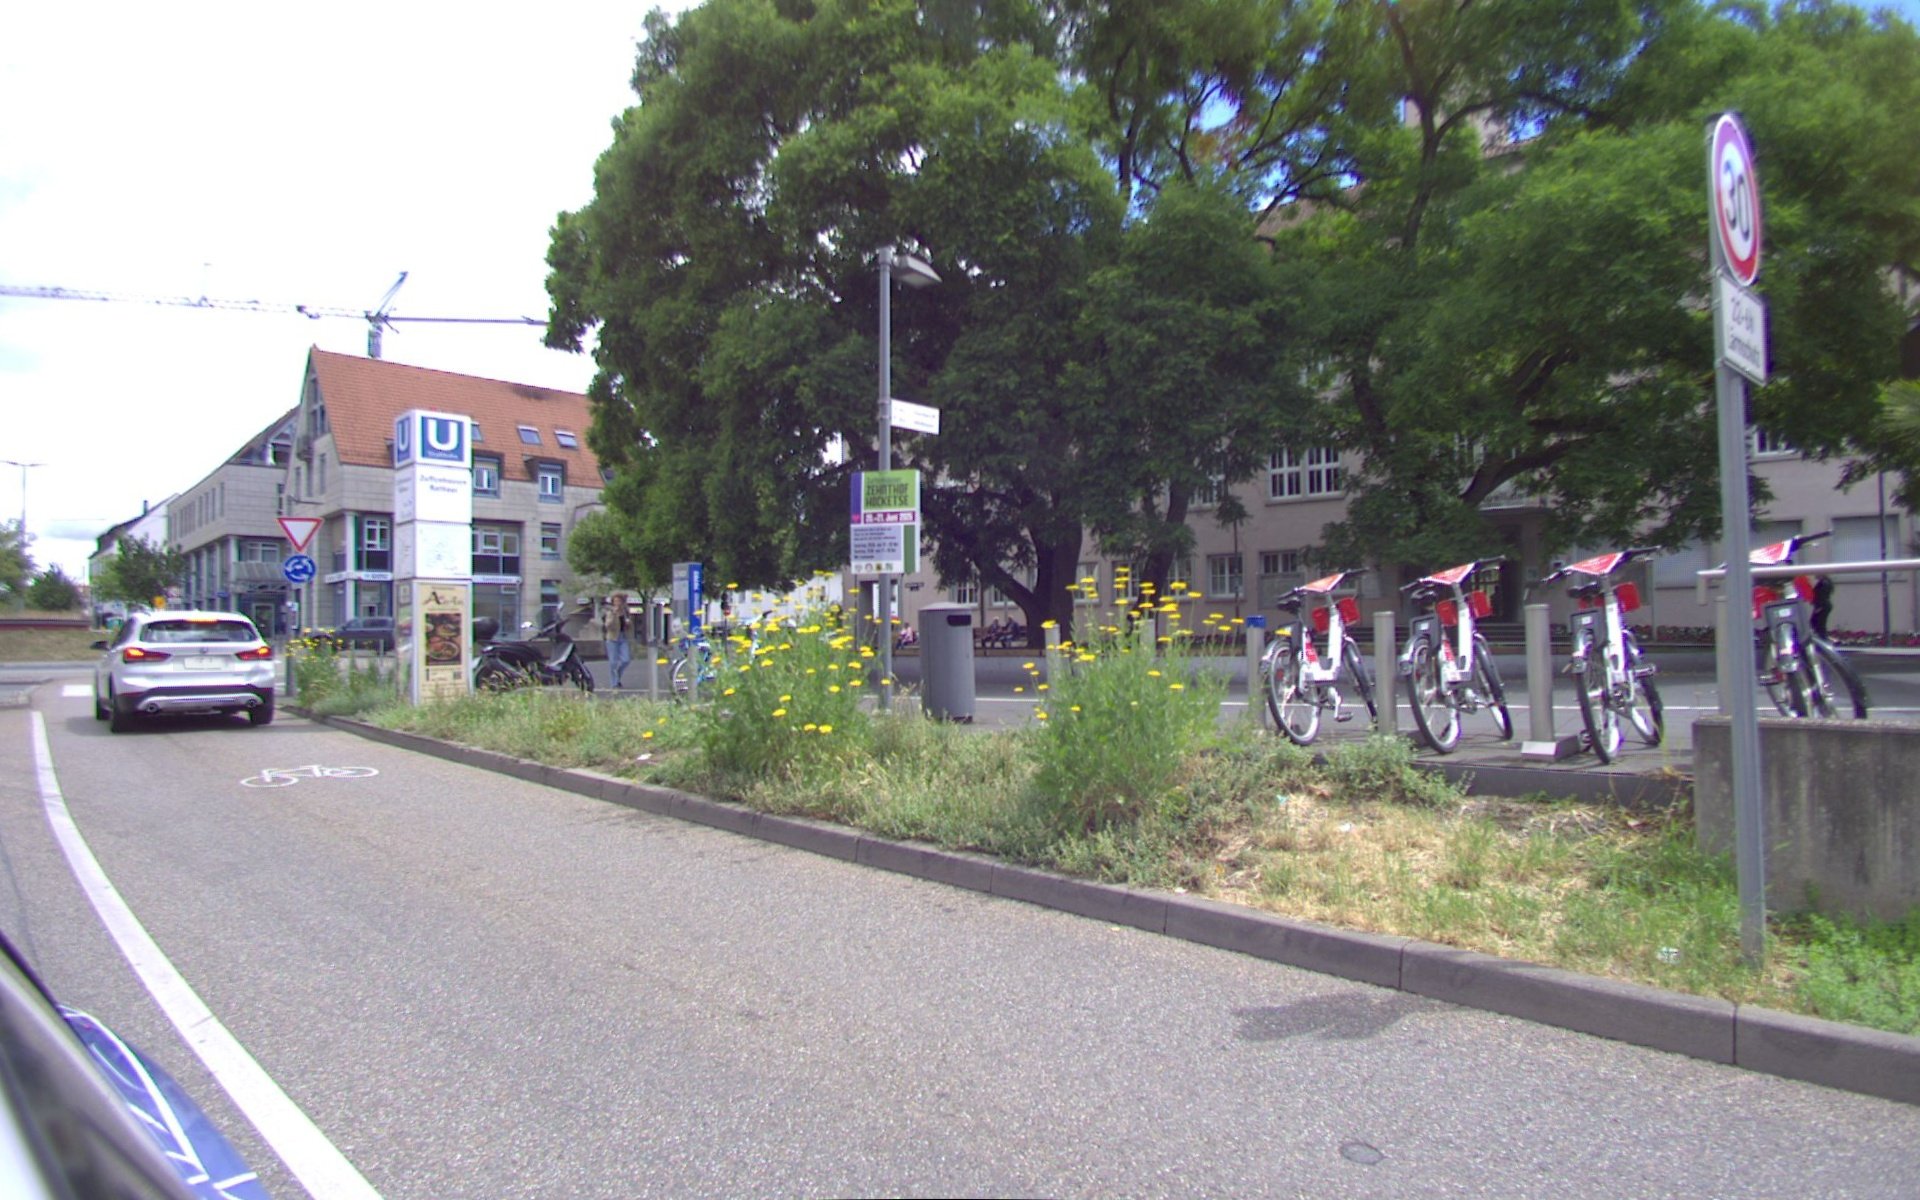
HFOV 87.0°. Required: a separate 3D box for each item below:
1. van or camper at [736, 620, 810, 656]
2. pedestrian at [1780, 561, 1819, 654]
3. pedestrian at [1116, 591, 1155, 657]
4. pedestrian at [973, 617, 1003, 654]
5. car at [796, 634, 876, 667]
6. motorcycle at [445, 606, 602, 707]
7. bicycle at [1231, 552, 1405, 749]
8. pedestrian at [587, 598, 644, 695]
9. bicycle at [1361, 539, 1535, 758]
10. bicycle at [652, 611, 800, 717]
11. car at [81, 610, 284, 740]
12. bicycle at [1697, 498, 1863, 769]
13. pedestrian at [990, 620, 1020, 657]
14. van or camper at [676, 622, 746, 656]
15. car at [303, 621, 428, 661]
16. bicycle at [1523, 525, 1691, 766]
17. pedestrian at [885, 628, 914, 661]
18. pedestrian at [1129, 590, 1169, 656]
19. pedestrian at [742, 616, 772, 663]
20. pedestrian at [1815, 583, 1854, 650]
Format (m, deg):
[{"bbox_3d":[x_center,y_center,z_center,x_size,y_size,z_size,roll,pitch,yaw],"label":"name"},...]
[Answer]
[{"bbox_3d":[-12.864,2.599,69.643,4.635,2.400,1.989,-1,-2,17],"label":"van or camper"},{"bbox_3d":[16.838,0.142,20.306,0.593,1.821,0.635,0,0,41],"label":"pedestrian"},{"bbox_3d":[5.005,0.688,28.872,0.829,1.864,0.653,-4,-3,42],"label":"pedestrian"},{"bbox_3d":[0.968,1.229,35.105,0.689,1.235,0.807,-3,-3,36],"label":"pedestrian"},{"bbox_3d":[-6.650,2.688,54.467,4.013,1.551,1.749,0,0,-42],"label":"car"},{"bbox_3d":[-6.743,0.851,15.752,0.648,1.461,2.167,0,-2,39],"label":"motorcycle"},{"bbox_3d":[2.367,0.314,6.595,0.533,1.136,1.530,-2,-3,41],"label":"bicycle"},{"bbox_3d":[-6.015,0.807,17.657,0.652,1.641,0.801,0,-3,-42],"label":"pedestrian"},{"bbox_3d":[2.938,0.278,6.023,0.533,1.136,1.530,-2,-3,41],"label":"bicycle"},{"bbox_3d":[-2.587,0.696,11.335,0.514,1.090,1.670,-4,-4,36],"label":"bicycle"},{"bbox_3d":[-11.331,1.008,14.638,1.801,1.597,4.168,4,-4,-44],"label":"car"},{"bbox_3d":[4.065,0.164,5.000,0.533,1.136,1.530,-2,-3,41],"label":"bicycle"},{"bbox_3d":[1.545,1.319,34.648,0.689,1.235,0.807,-3,-3,36],"label":"pedestrian"},{"bbox_3d":[-18.204,2.840,74.134,4.635,2.400,1.989,-1,-2,17],"label":"van or camper"},{"bbox_3d":[-27.188,1.847,46.465,4.807,1.666,1.752,0,0,-26],"label":"car"},{"bbox_3d":[3.563,0.238,5.522,0.533,1.136,1.530,-2,-3,41],"label":"bicycle"},{"bbox_3d":[-2.233,1.643,37.510,0.689,1.184,0.807,-3,-3,36],"label":"pedestrian"},{"bbox_3d":[5.485,0.681,29.402,0.877,1.864,0.653,-4,-3,42],"label":"pedestrian"},{"bbox_3d":[-7.497,1.452,37.305,0.816,1.688,0.682,-3,-3,38],"label":"pedestrian"},{"bbox_3d":[17.924,0.334,20.760,0.593,1.348,0.635,0,0,41],"label":"pedestrian"}]
